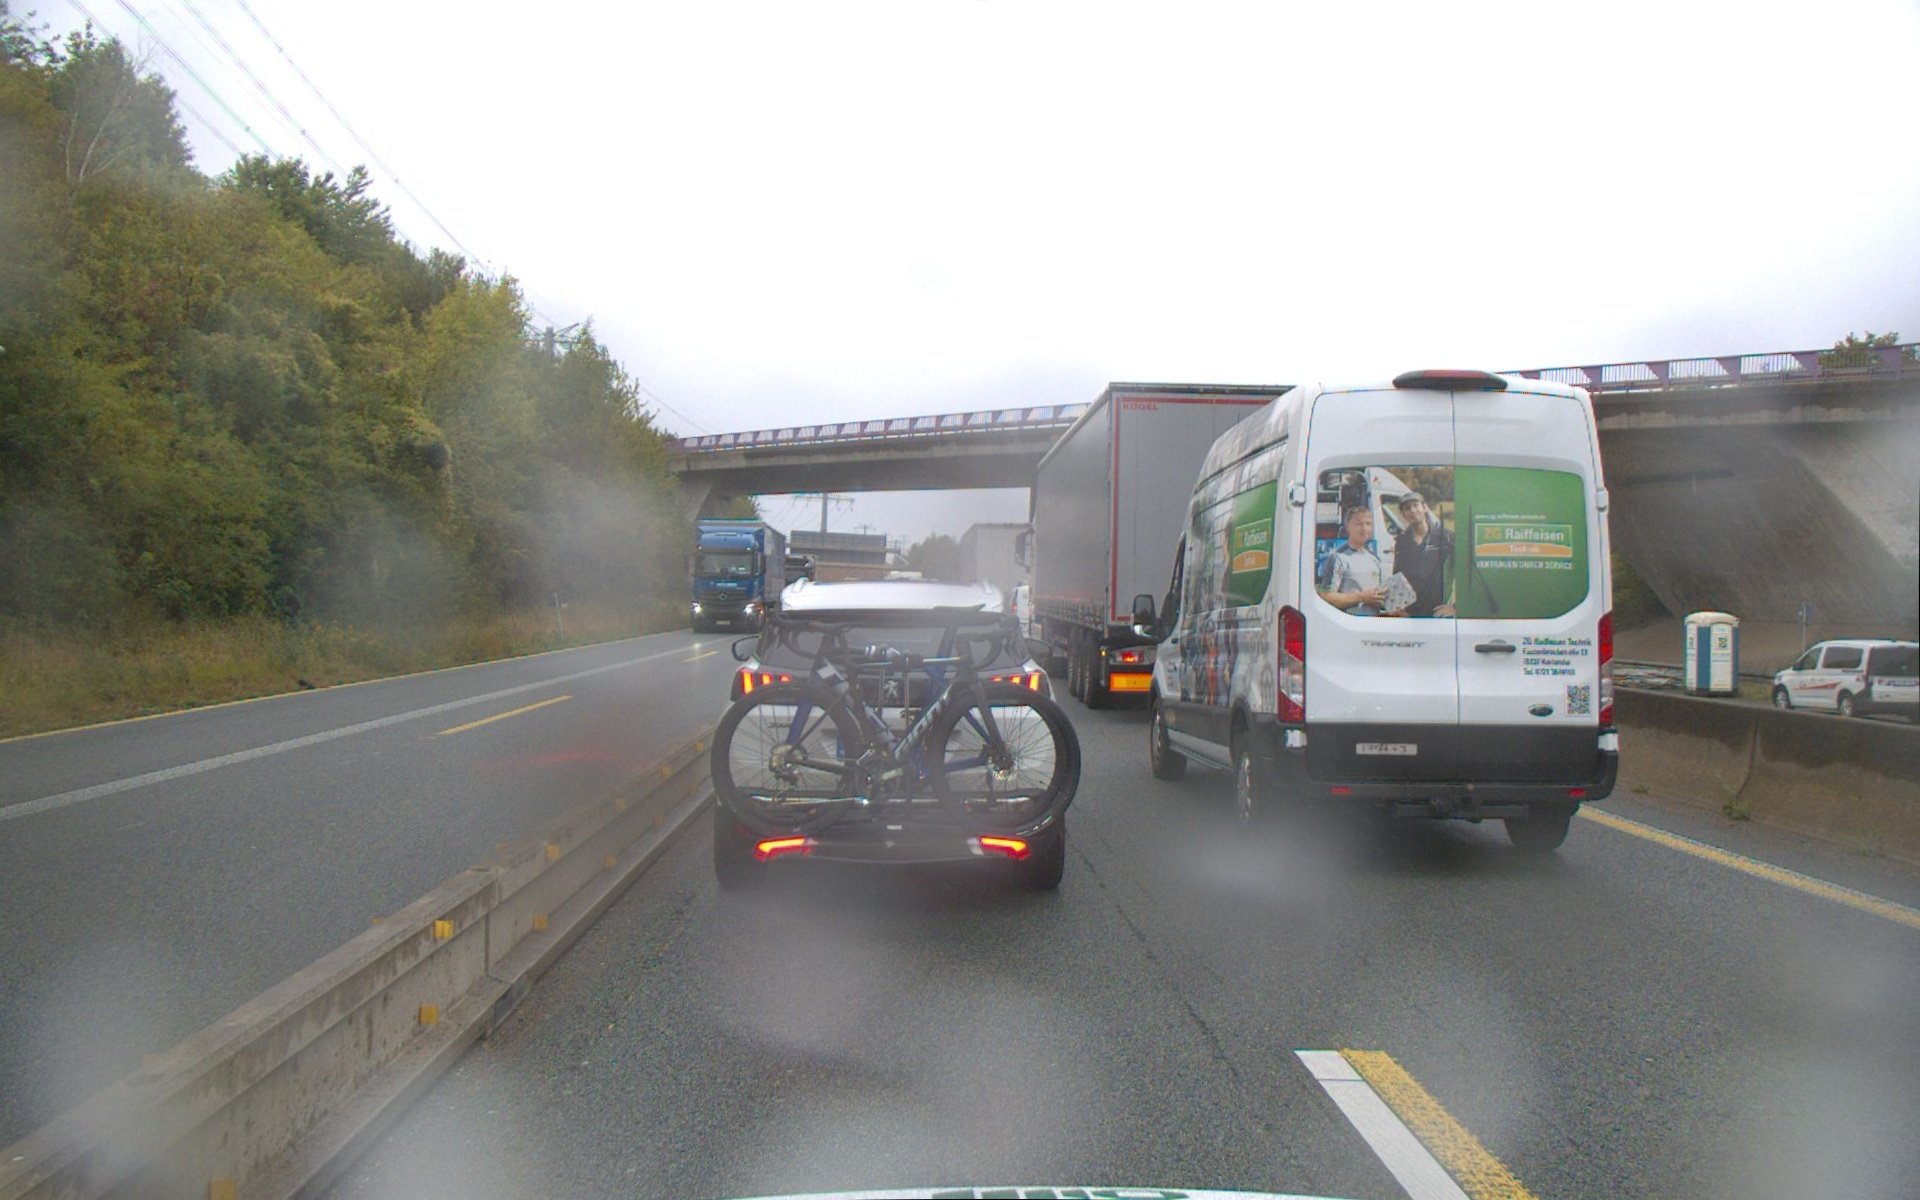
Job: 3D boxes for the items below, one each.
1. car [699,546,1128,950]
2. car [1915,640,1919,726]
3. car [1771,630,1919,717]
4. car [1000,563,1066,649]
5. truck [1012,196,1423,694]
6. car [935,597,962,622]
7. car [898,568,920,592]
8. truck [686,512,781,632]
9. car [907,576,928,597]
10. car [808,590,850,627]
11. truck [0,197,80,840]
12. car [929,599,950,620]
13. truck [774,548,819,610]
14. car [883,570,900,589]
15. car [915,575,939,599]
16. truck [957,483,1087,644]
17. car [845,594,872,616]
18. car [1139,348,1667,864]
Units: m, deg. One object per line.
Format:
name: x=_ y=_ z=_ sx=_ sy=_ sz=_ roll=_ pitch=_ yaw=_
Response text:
car: x=-0.179 y=0.627 z=9.237 sx=1.773 sy=1.666 sz=4.635 roll=1 pitch=0 yaw=0
car: x=20.635 y=1.719 z=32.274 sx=1.693 sy=1.776 sz=4.124 roll=1 pitch=0 yaw=1
car: x=20.700 y=1.655 z=38.340 sx=1.809 sy=1.840 sz=4.157 roll=1 pitch=0 yaw=1
car: x=1.956 y=0.171 z=45.378 sx=1.635 sy=2.218 sz=4.534 roll=1 pitch=0 yaw=0
truck: x=3.341 y=-1.778 z=29.546 sx=3.898 sy=5.772 sz=20.372 roll=1 pitch=0 yaw=-1
car: x=-0.691 y=0.580 z=101.177 sx=1.605 sy=1.524 sz=3.665 roll=1 pitch=0 yaw=-1
car: x=-5.293 y=-2.075 z=173.643 sx=2.193 sy=2.348 sz=4.571 roll=1 pitch=0 yaw=-1
truck: x=-8.880 y=-0.954 z=66.579 sx=2.711 sy=4.195 sz=16.911 roll=1 pitch=0 yaw=-4
car: x=-4.157 y=-1.298 z=160.928 sx=1.953 sy=2.049 sz=3.999 roll=1 pitch=0 yaw=-1
car: x=-6.042 y=0.392 z=76.691 sx=1.747 sy=1.638 sz=4.102 roll=1 pitch=0 yaw=-2
truck: x=-6.823 y=-0.502 z=4.234 sx=2.627 sy=3.720 sz=12.309 roll=1 pitch=0 yaw=-1
car: x=-1.563 y=0.740 z=126.370 sx=1.605 sy=1.524 sz=3.665 roll=1 pitch=0 yaw=-1
truck: x=-11.457 y=-1.401 z=116.463 sx=2.414 sy=4.195 sz=10.084 roll=1 pitch=0 yaw=-2
car: x=-8.415 y=-2.505 z=202.808 sx=1.953 sy=2.164 sz=4.526 roll=1 pitch=0 yaw=-1
car: x=-2.829 y=-1.089 z=142.367 sx=1.954 sy=2.049 sz=3.998 roll=1 pitch=0 yaw=-3
truck: x=2.335 y=-1.295 z=70.333 sx=4.645 sy=5.772 sz=20.375 roll=1 pitch=0 yaw=0
car: x=-7.267 y=0.382 z=118.130 sx=1.900 sy=1.520 sz=3.997 roll=1 pitch=0 yaw=-4
car: x=2.700 y=0.043 z=11.883 sx=2.100 sy=2.723 sz=6.116 roll=1 pitch=0 yaw=0
